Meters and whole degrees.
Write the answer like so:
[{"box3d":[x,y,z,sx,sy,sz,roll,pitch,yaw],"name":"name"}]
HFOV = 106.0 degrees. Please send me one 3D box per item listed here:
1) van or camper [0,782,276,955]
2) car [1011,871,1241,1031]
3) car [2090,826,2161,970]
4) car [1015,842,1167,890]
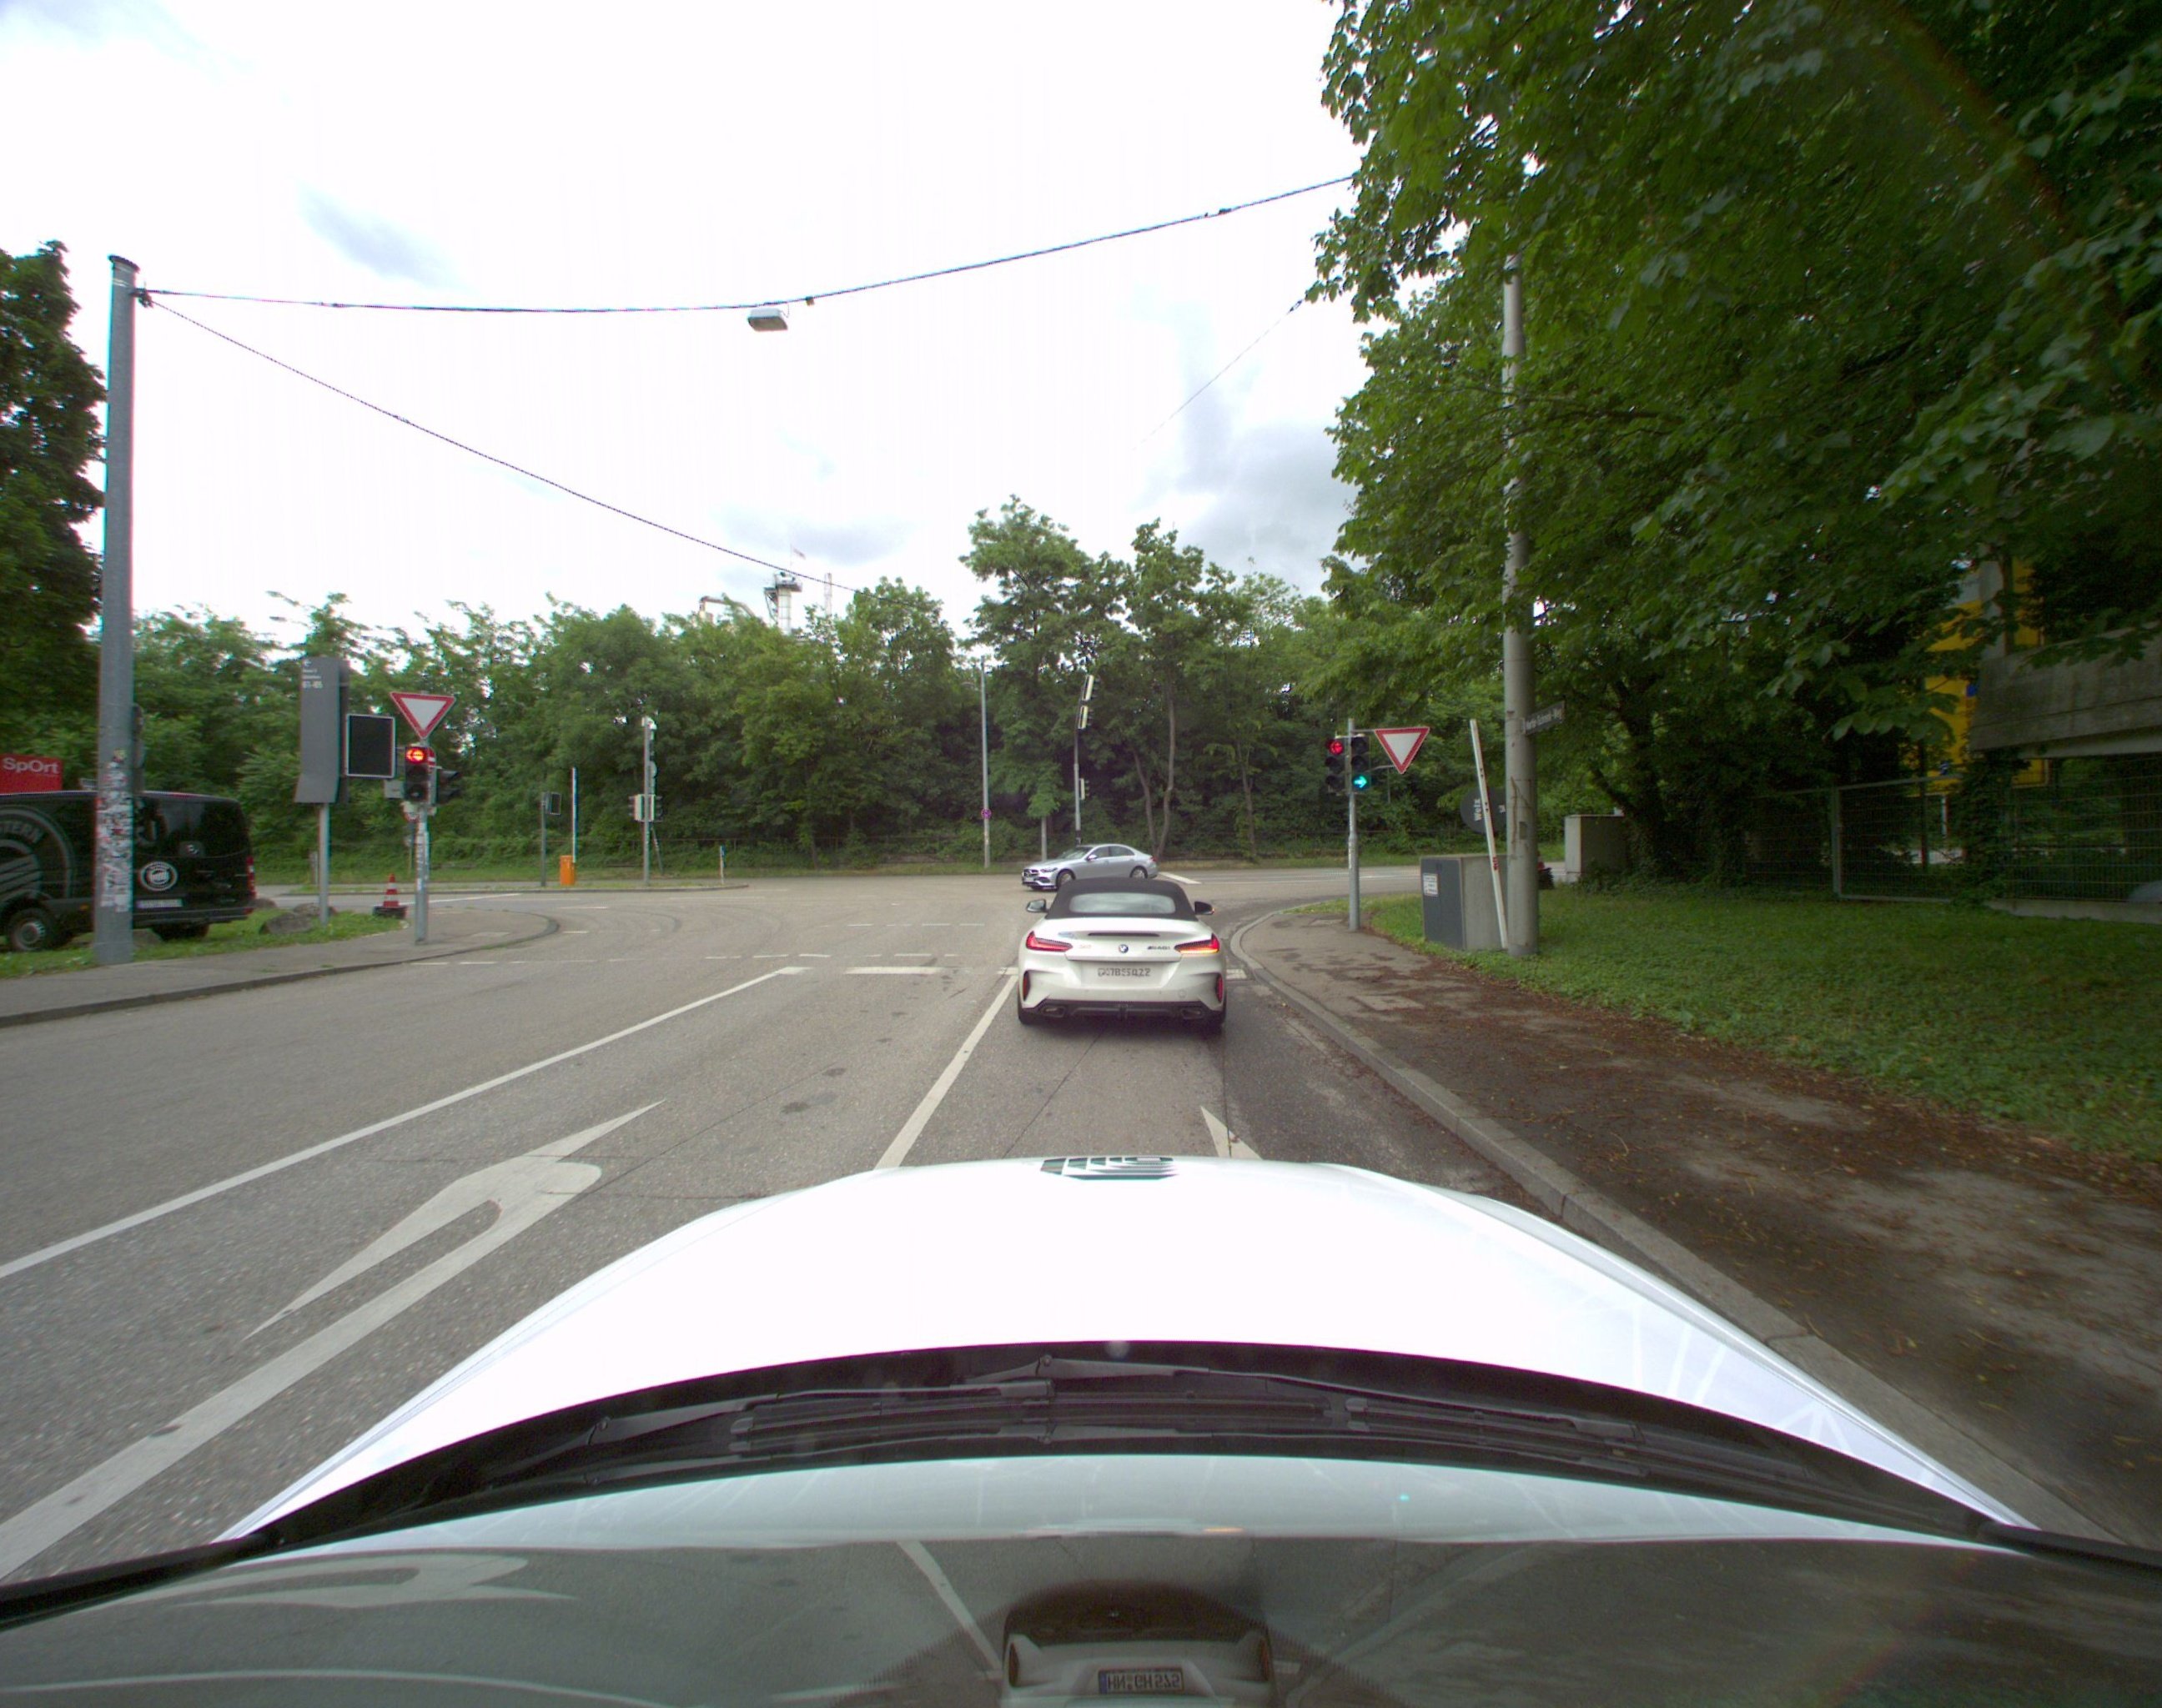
[{"box3d":[-15.943,0.319,12.366,5.513,2.314,2.063,-3,-2,2],"name":"van or camper"},{"box3d":[0.437,0.833,8.474,1.820,1.257,4.001,0,-2,2],"name":"car"},{"box3d":[13.566,0.484,8.498,1.475,1.708,3.720,0,-2,2],"name":"car"},{"box3d":[0.383,0.343,26.609,4.785,1.333,1.815,-2,2,-33],"name":"car"}]
